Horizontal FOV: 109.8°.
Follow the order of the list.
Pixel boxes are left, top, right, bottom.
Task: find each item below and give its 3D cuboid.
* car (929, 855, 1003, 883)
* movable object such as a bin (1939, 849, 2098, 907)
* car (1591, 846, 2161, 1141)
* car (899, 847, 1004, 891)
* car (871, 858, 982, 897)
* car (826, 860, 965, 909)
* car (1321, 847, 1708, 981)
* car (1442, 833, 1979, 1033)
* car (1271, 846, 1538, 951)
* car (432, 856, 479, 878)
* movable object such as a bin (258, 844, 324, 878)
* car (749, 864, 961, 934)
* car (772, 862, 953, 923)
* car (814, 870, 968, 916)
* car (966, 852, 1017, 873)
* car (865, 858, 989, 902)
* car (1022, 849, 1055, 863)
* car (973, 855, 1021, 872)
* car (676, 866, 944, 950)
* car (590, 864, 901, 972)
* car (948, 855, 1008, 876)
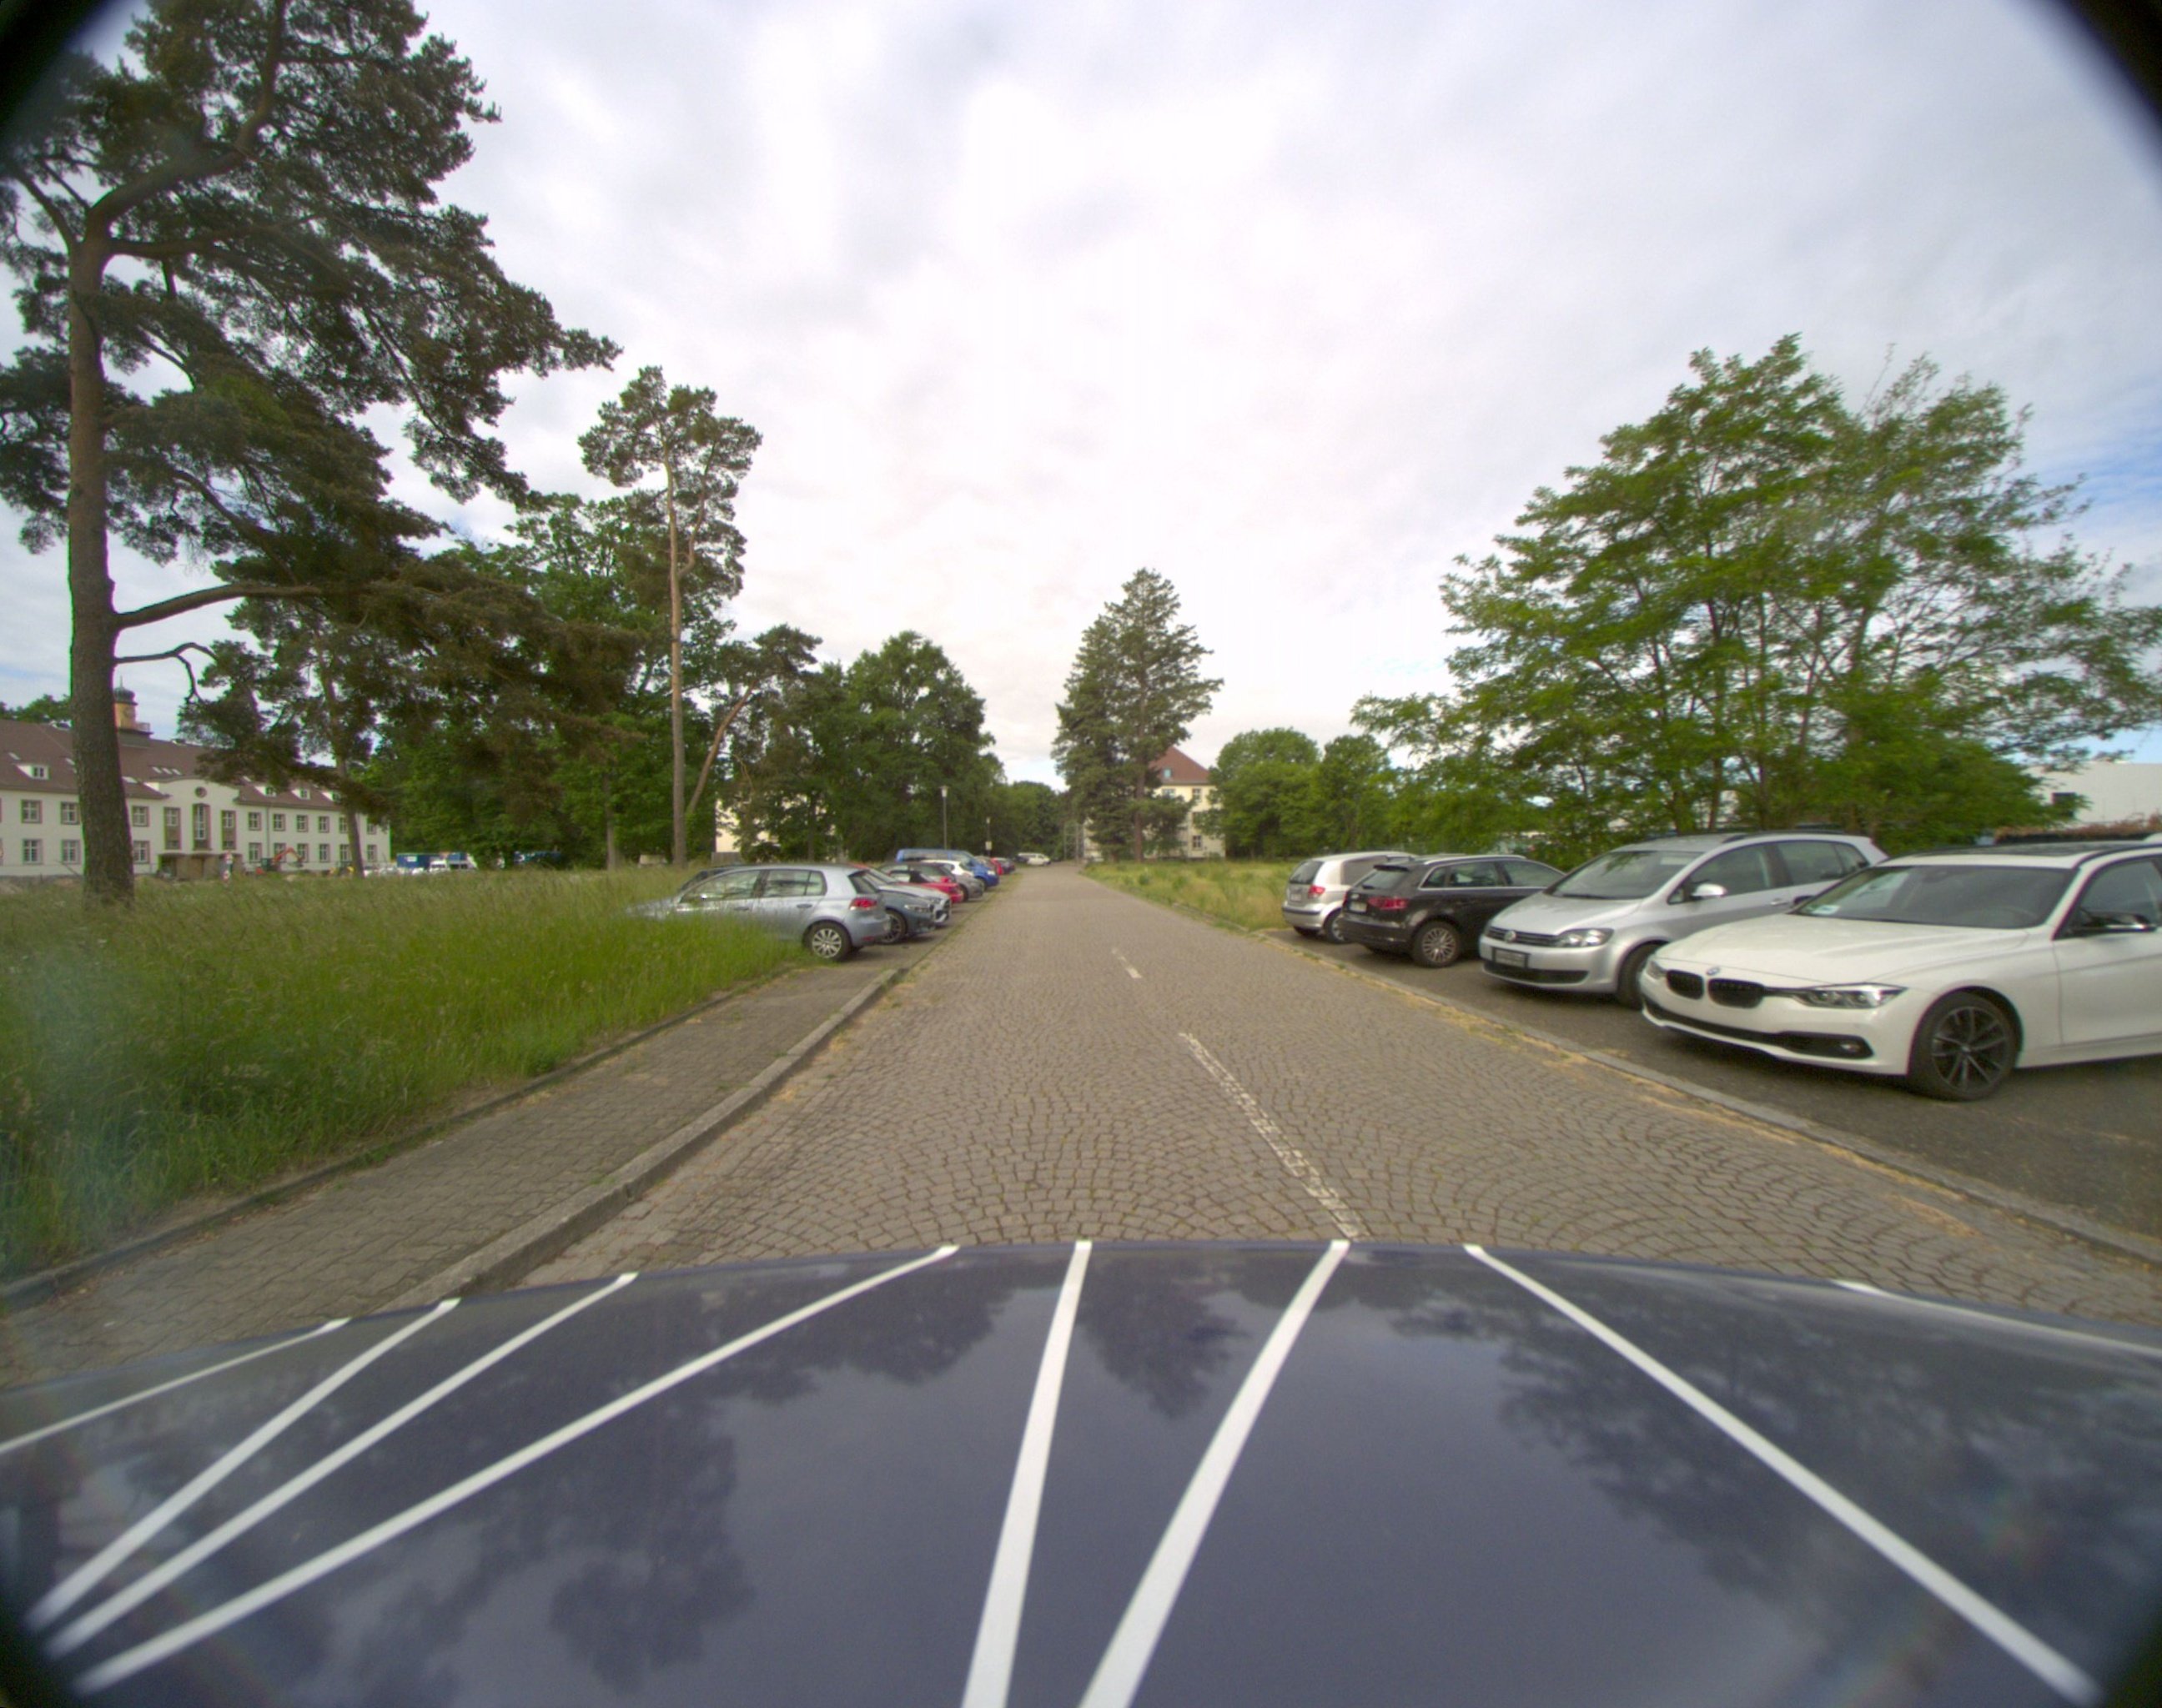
[{"bbox_3d":[-6.704,0.852,44.424,4.084,1.584,1.654,0,0,0],"label":"car"},{"bbox_3d":[18.694,0.454,15.180,2.268,1.119,0.858,0,1,-5],"label":"movable object such as a bin"},{"bbox_3d":[6.597,0.778,5.422,4.753,1.479,1.866,-3,0,-5],"label":"car"},{"bbox_3d":[-5.991,0.672,35.549,4.603,1.994,1.911,0,1,-1],"label":"car"},{"bbox_3d":[-6.074,0.919,30.125,4.051,1.507,1.600,0,0,0],"label":"car"},{"bbox_3d":[-5.873,0.942,24.382,4.051,1.507,1.600,0,0,0],"label":"car"},{"bbox_3d":[5.877,0.746,10.583,4.447,1.416,1.721,-3,1,-5],"label":"car"},{"bbox_3d":[6.396,0.691,7.965,4.377,1.588,1.871,-3,1,-9],"label":"car"},{"bbox_3d":[5.544,0.714,13.243,3.961,1.462,1.584,-3,1,-6],"label":"car"},{"bbox_3d":[-72.739,1.491,88.447,1.862,2.351,4.445,-2,1,-3],"label":"car"},{"bbox_3d":[-93.133,0.811,89.559,5.459,3.748,2.052,-2,1,1],"label":"movable object such as a bin"},{"bbox_3d":[-4.969,0.982,17.091,4.248,1.465,1.717,0,0,-1],"label":"car"},{"bbox_3d":[-5.497,0.964,19.543,4.184,1.473,1.717,0,0,-2],"label":"car"},{"bbox_3d":[-5.344,1.081,21.741,4.051,1.233,1.549,0,0,-2],"label":"car"},{"bbox_3d":[-7.677,0.715,65.059,4.082,1.685,1.727,0,0,4],"label":"car"},{"bbox_3d":[-5.443,0.922,27.233,4.098,1.507,1.700,0,0,0],"label":"car"},{"bbox_3d":[-6.673,0.297,118.526,5.151,2.137,1.774,0,0,-6],"label":"car"},{"bbox_3d":[-7.713,0.844,69.753,4.092,1.524,1.727,0,0,4],"label":"car"},{"bbox_3d":[-4.936,0.988,14.344,4.441,1.375,1.663,2,0,-4],"label":"car"},{"bbox_3d":[-4.971,0.939,11.711,4.012,1.420,1.697,2,0,-4],"label":"car"},{"bbox_3d":[-7.400,0.828,54.714,4.084,1.436,1.726,0,0,-1],"label":"car"}]
